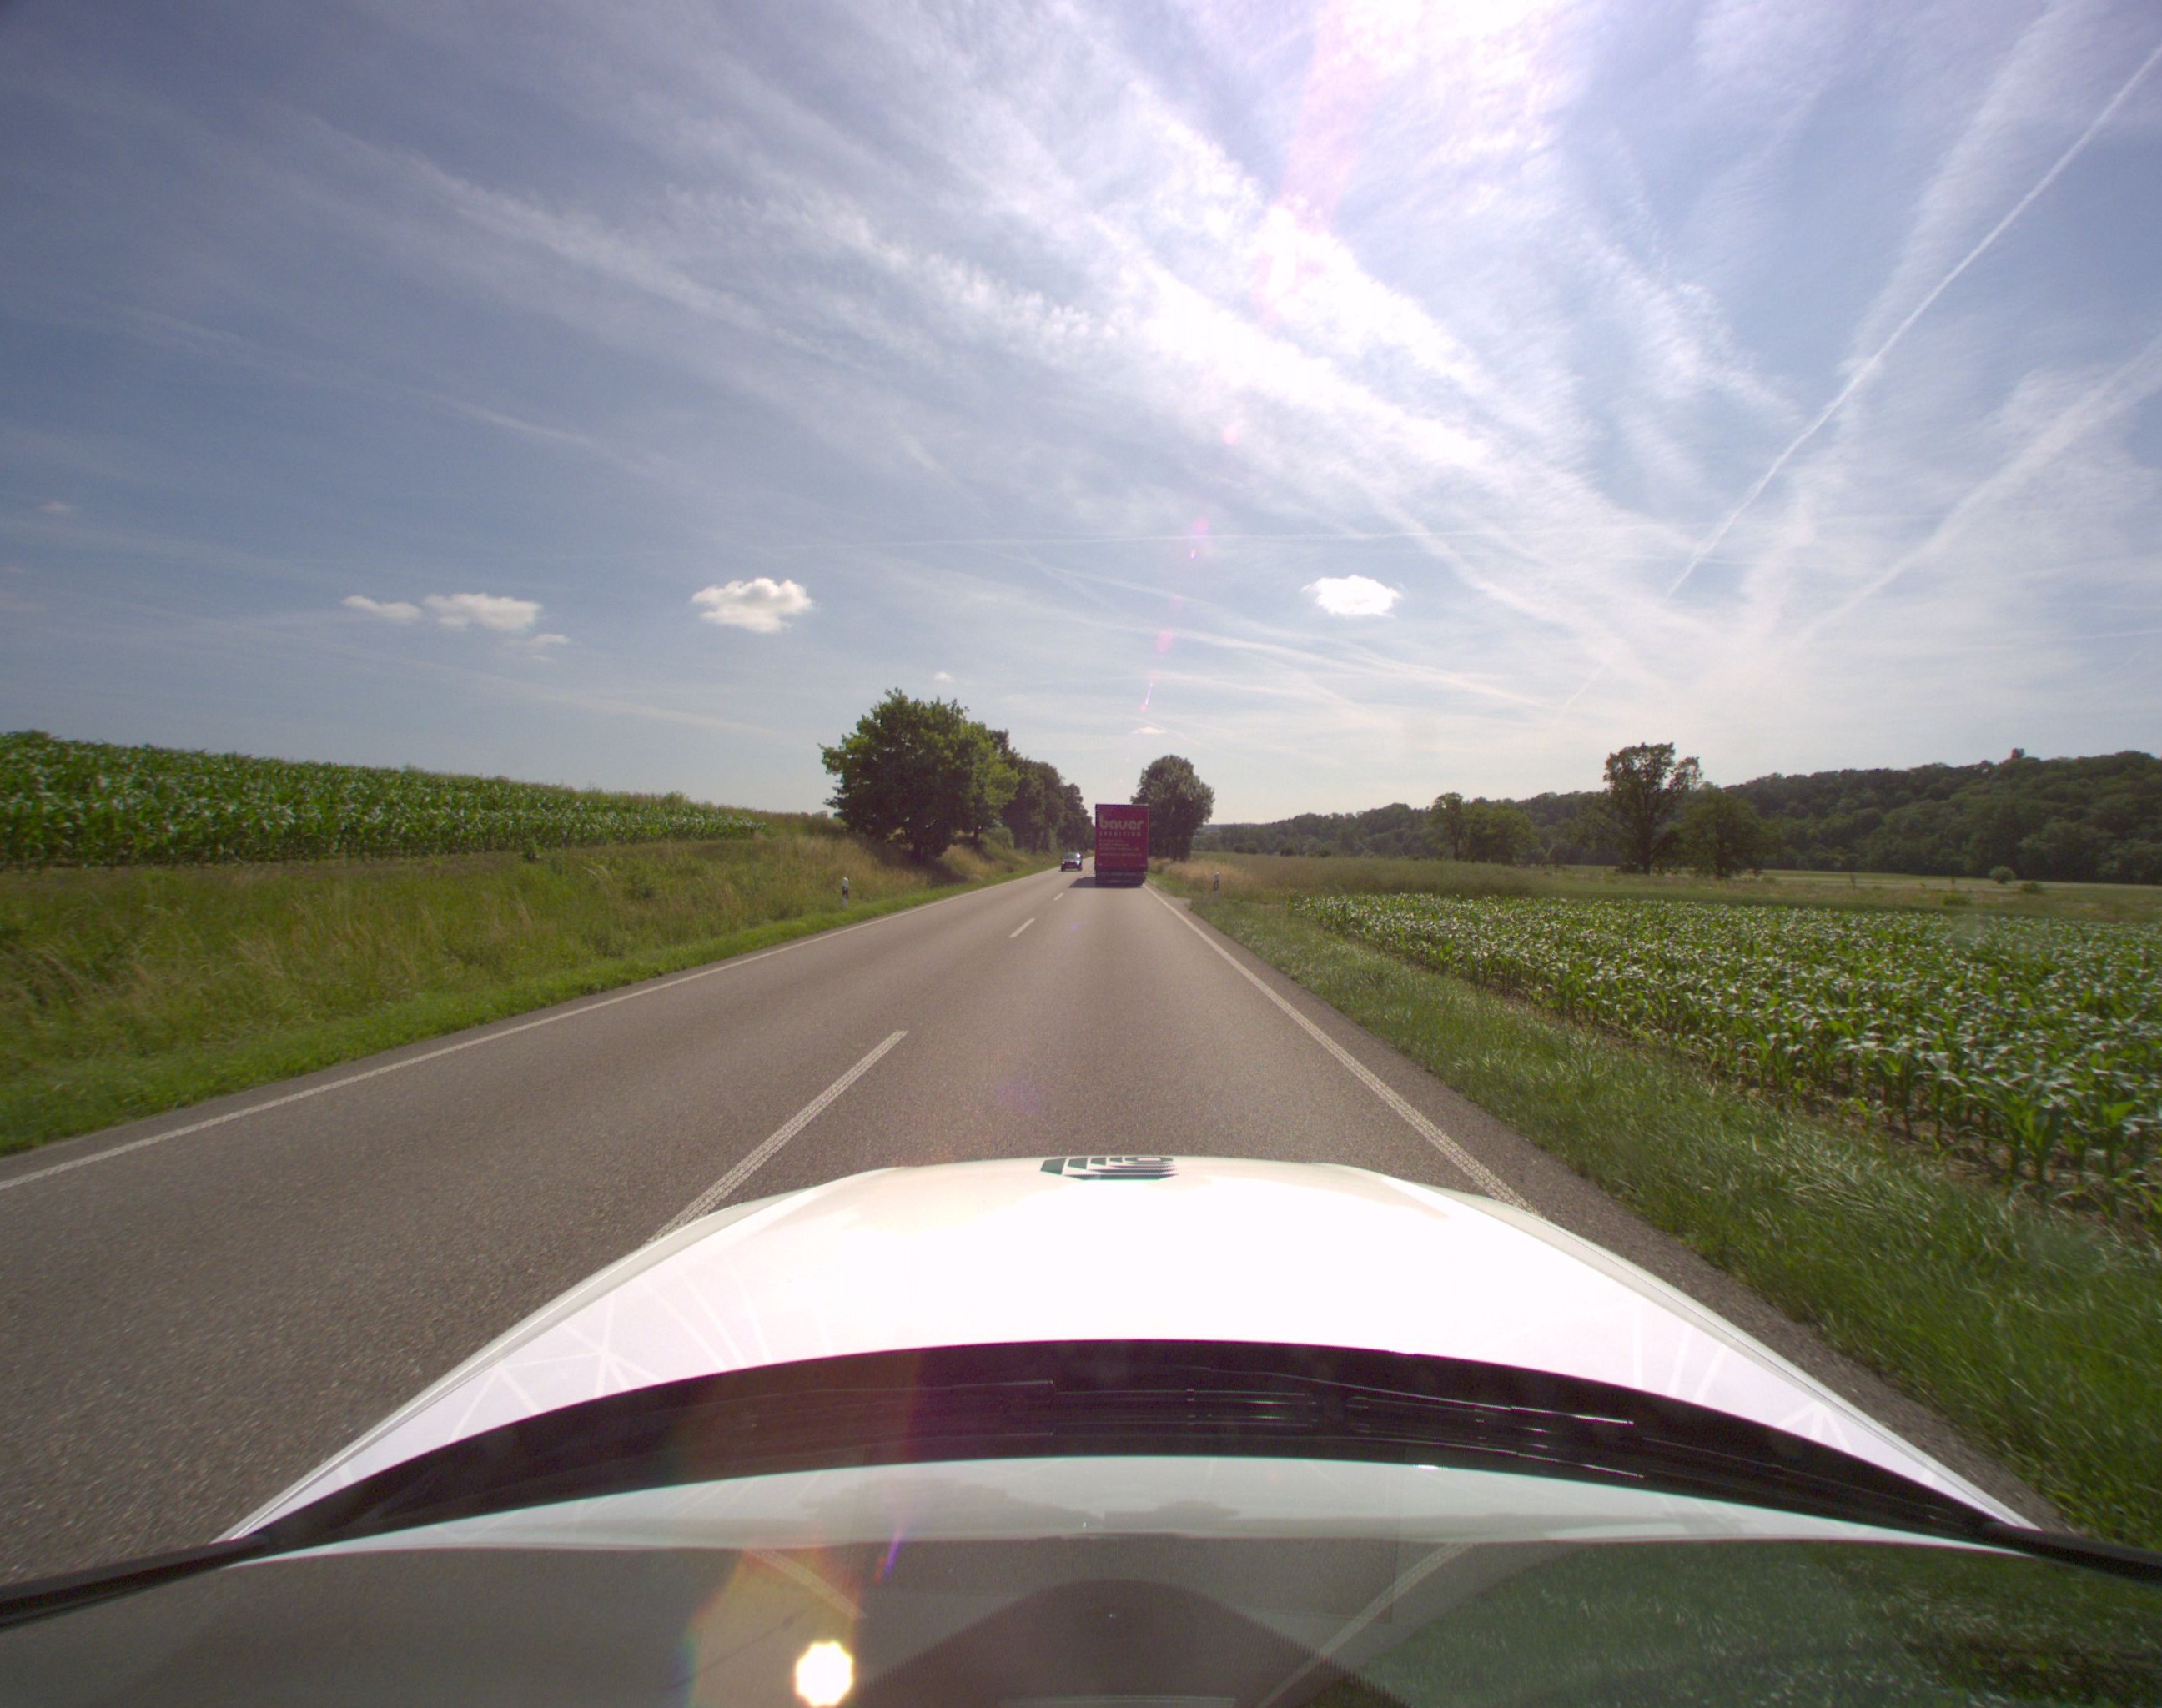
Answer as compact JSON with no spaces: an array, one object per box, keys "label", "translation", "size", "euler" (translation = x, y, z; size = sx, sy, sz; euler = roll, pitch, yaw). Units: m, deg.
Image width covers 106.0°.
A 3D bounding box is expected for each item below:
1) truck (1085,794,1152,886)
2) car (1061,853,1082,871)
[{"label":"truck","translation":[1.941,-0.628,42.697],"size":[3.082,4.263,8.318],"euler":[-1,-1,2]},{"label":"car","translation":[-0.807,0.707,71.015],"size":[1.650,1.534,4.360],"euler":[0,0,2]}]
